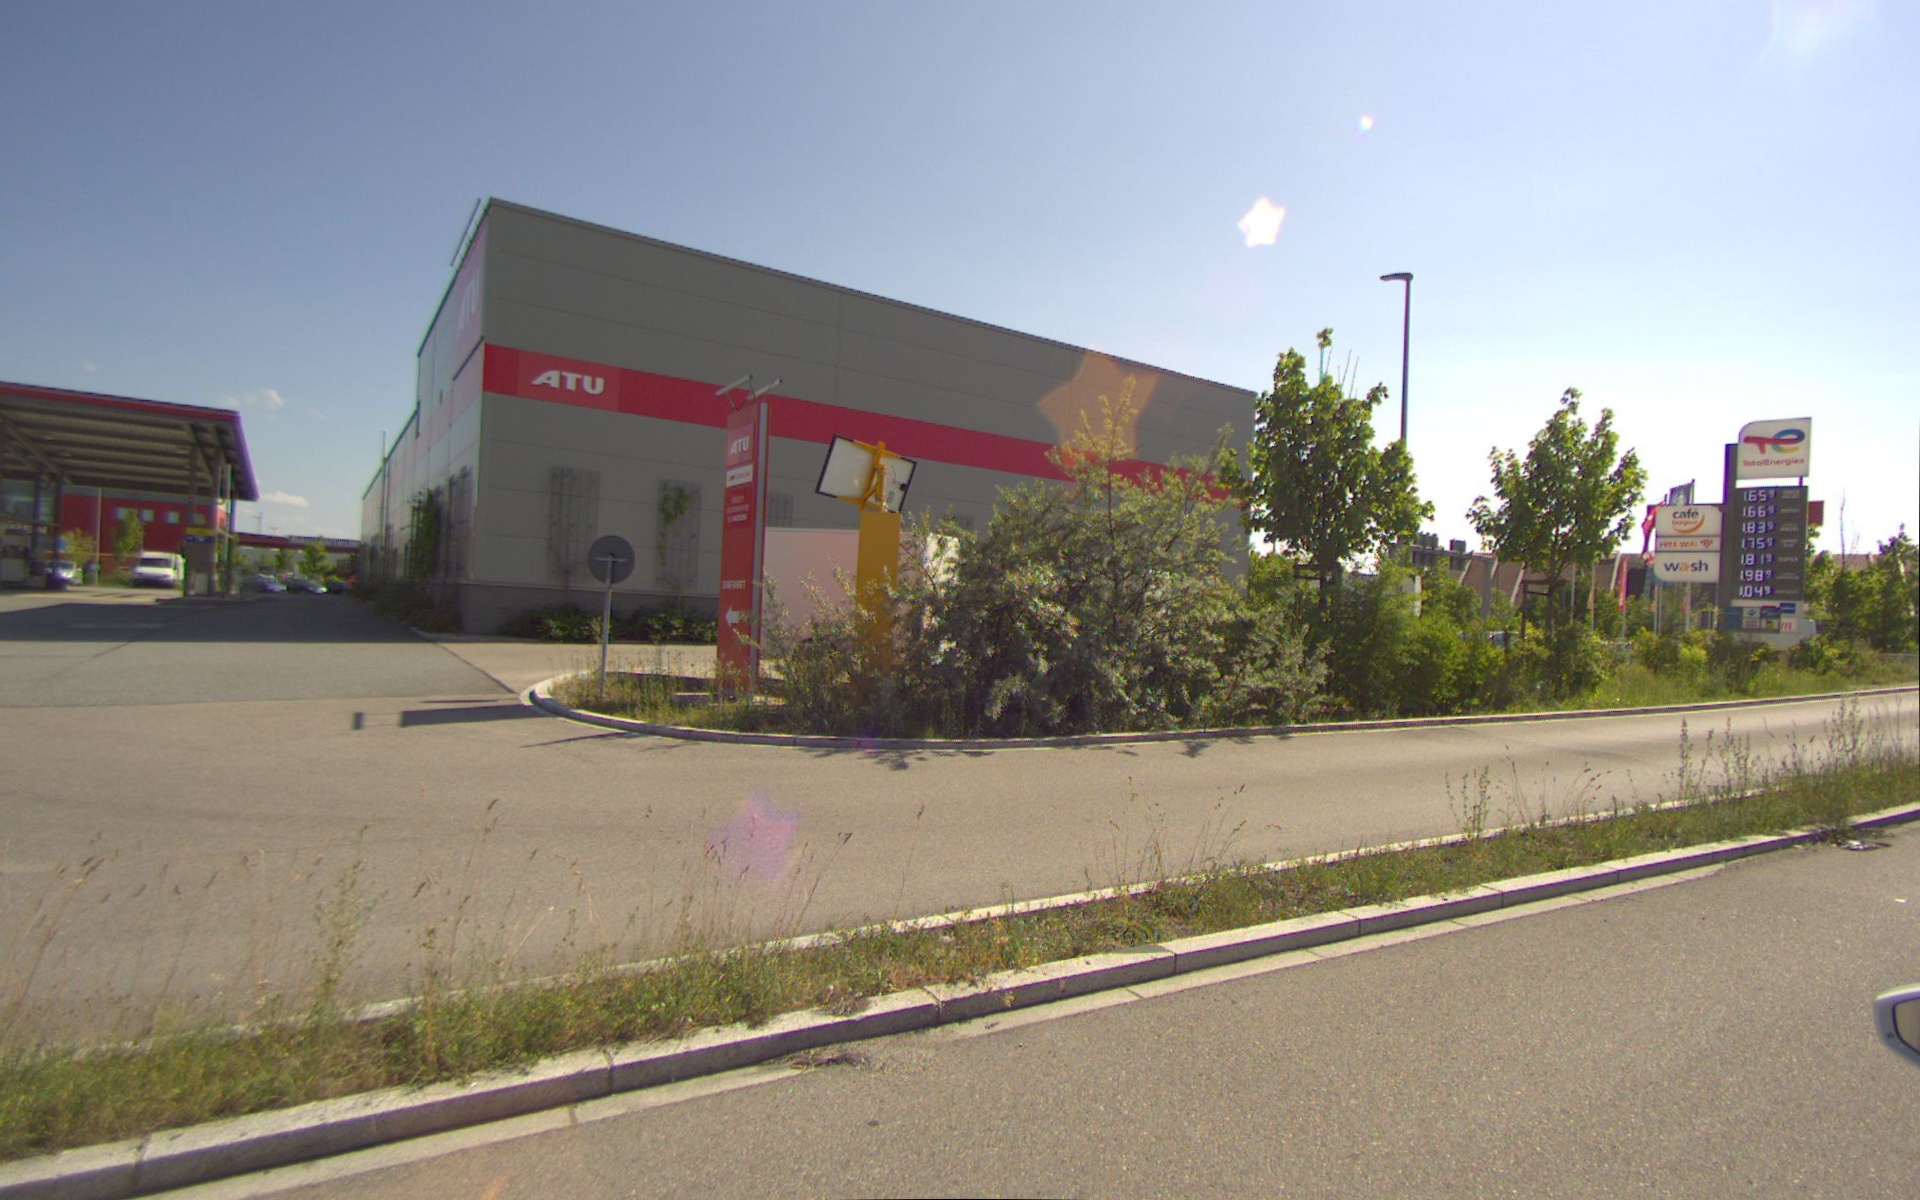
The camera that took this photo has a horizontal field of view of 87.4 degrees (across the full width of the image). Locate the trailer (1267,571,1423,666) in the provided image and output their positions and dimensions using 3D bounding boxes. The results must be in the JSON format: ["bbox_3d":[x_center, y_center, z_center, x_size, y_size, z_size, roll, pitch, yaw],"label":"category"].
[{"bbox_3d":[9.078,0.406,23.683,3.181,2.040,1.745,2,0,29],"label":"trailer"}]

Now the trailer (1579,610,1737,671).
[{"bbox_3d":[21.174,1.193,30.660,3.628,1.471,1.706,5,2,26],"label":"trailer"}]

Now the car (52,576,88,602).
[{"bbox_3d":[-57.108,-0.731,64.480,1.587,1.530,3.558,2,0,-40],"label":"car"}]

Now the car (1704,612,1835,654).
[{"bbox_3d":[50.110,2.011,62.340,6.176,2.264,2.031,2,0,39],"label":"car"}]

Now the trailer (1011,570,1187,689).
[{"bbox_3d":[2.668,0.513,19.213,2.689,2.040,1.995,2,0,33],"label":"trailer"}]

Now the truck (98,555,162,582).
[{"bbox_3d":[-74.777,-2.779,90.579,4.209,2.216,2.363,2,0,-36],"label":"truck"}]

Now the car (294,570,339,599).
[{"bbox_3d":[-52.970,-1.295,82.652,2.368,2.216,5.417,2,0,-40],"label":"car"}]

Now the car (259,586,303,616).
[{"bbox_3d":[-54.807,0.091,81.005,2.368,2.216,5.417,2,0,-40],"label":"car"}]

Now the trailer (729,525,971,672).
[{"bbox_3d":[-1.671,-0.055,15.678,3.144,2.040,2.000,2,0,21],"label":"trailer"}]

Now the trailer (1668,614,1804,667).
[{"bbox_3d":[28.242,1.437,36.710,3.627,1.795,1.806,0,-1,26],"label":"trailer"}]

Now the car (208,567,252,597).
[{"bbox_3d":[-57.707,-1.426,79.353,2.368,2.216,5.417,2,0,-40],"label":"car"}]

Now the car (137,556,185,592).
[{"bbox_3d":[-53.369,-1.754,67.041,2.368,2.216,5.417,2,0,-40],"label":"car"}]

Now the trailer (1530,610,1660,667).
[{"bbox_3d":[22.248,1.319,35.369,3.627,1.795,1.806,2,0,26],"label":"trailer"}]

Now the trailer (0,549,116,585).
[{"bbox_3d":[-81.021,-2.934,86.090,13.056,2.796,2.363,2,0,-36],"label":"trailer"}]

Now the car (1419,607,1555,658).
[{"bbox_3d":[17.055,1.046,32.449,4.444,1.503,1.789,2,1,-30],"label":"car"}]
